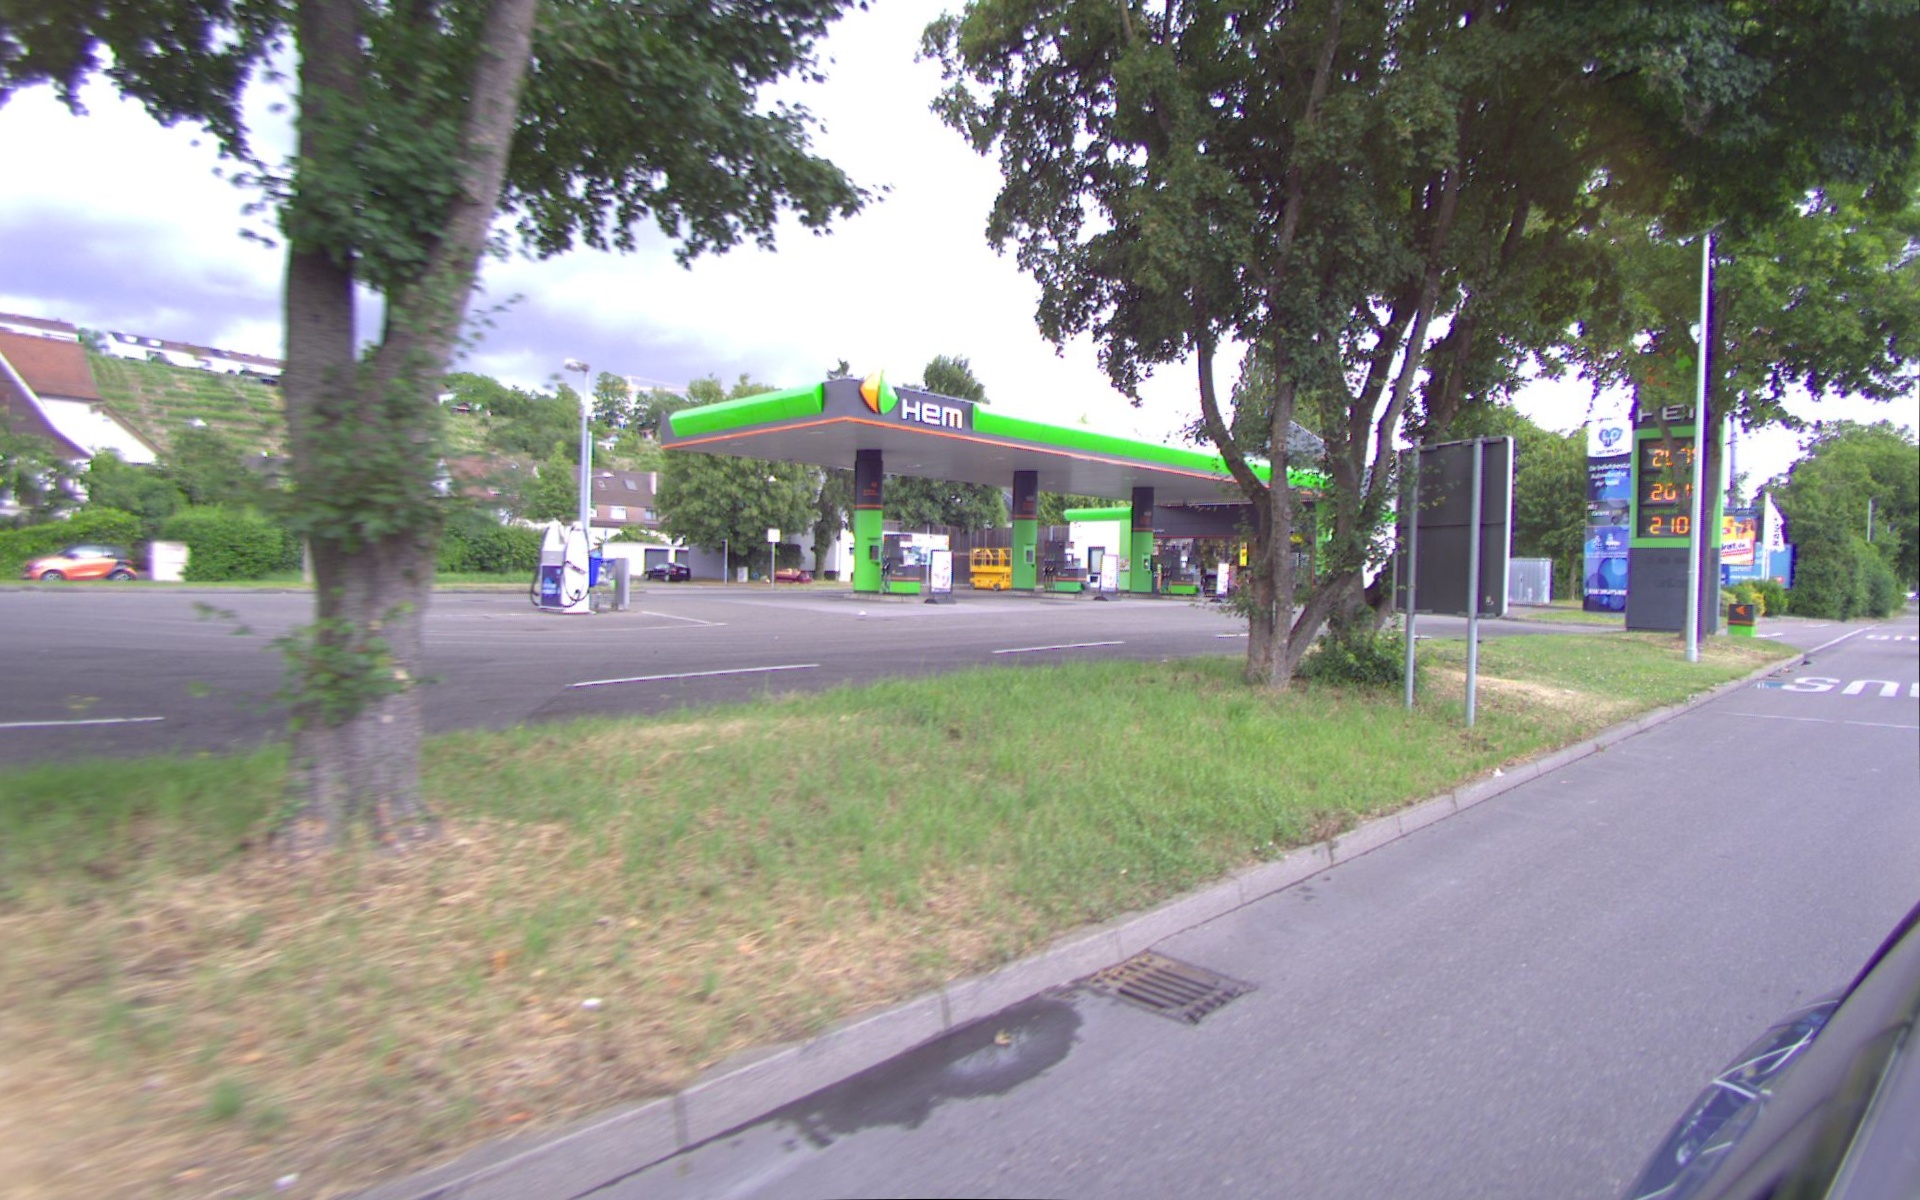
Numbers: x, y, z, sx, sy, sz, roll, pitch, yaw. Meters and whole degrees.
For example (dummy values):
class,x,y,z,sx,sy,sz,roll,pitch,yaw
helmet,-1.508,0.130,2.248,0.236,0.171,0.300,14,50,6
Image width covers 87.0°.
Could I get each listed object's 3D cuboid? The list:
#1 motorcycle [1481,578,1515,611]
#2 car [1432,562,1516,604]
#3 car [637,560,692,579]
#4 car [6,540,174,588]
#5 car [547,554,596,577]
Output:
class,x,y,z,sx,sy,sz,roll,pitch,yaw
motorcycle,20.476,-0.224,38.523,0.701,1.201,2.355,3,2,38
car,22.607,-0.749,44.431,4.256,1.658,1.996,0,5,-45
car,-21.010,-2.175,71.891,3.983,1.234,1.816,3,2,41
car,-29.430,-1.167,34.338,1.985,1.483,3.954,-1,0,32
car,-26.014,-2.271,67.765,1.642,1.422,3.867,0,0,-45
